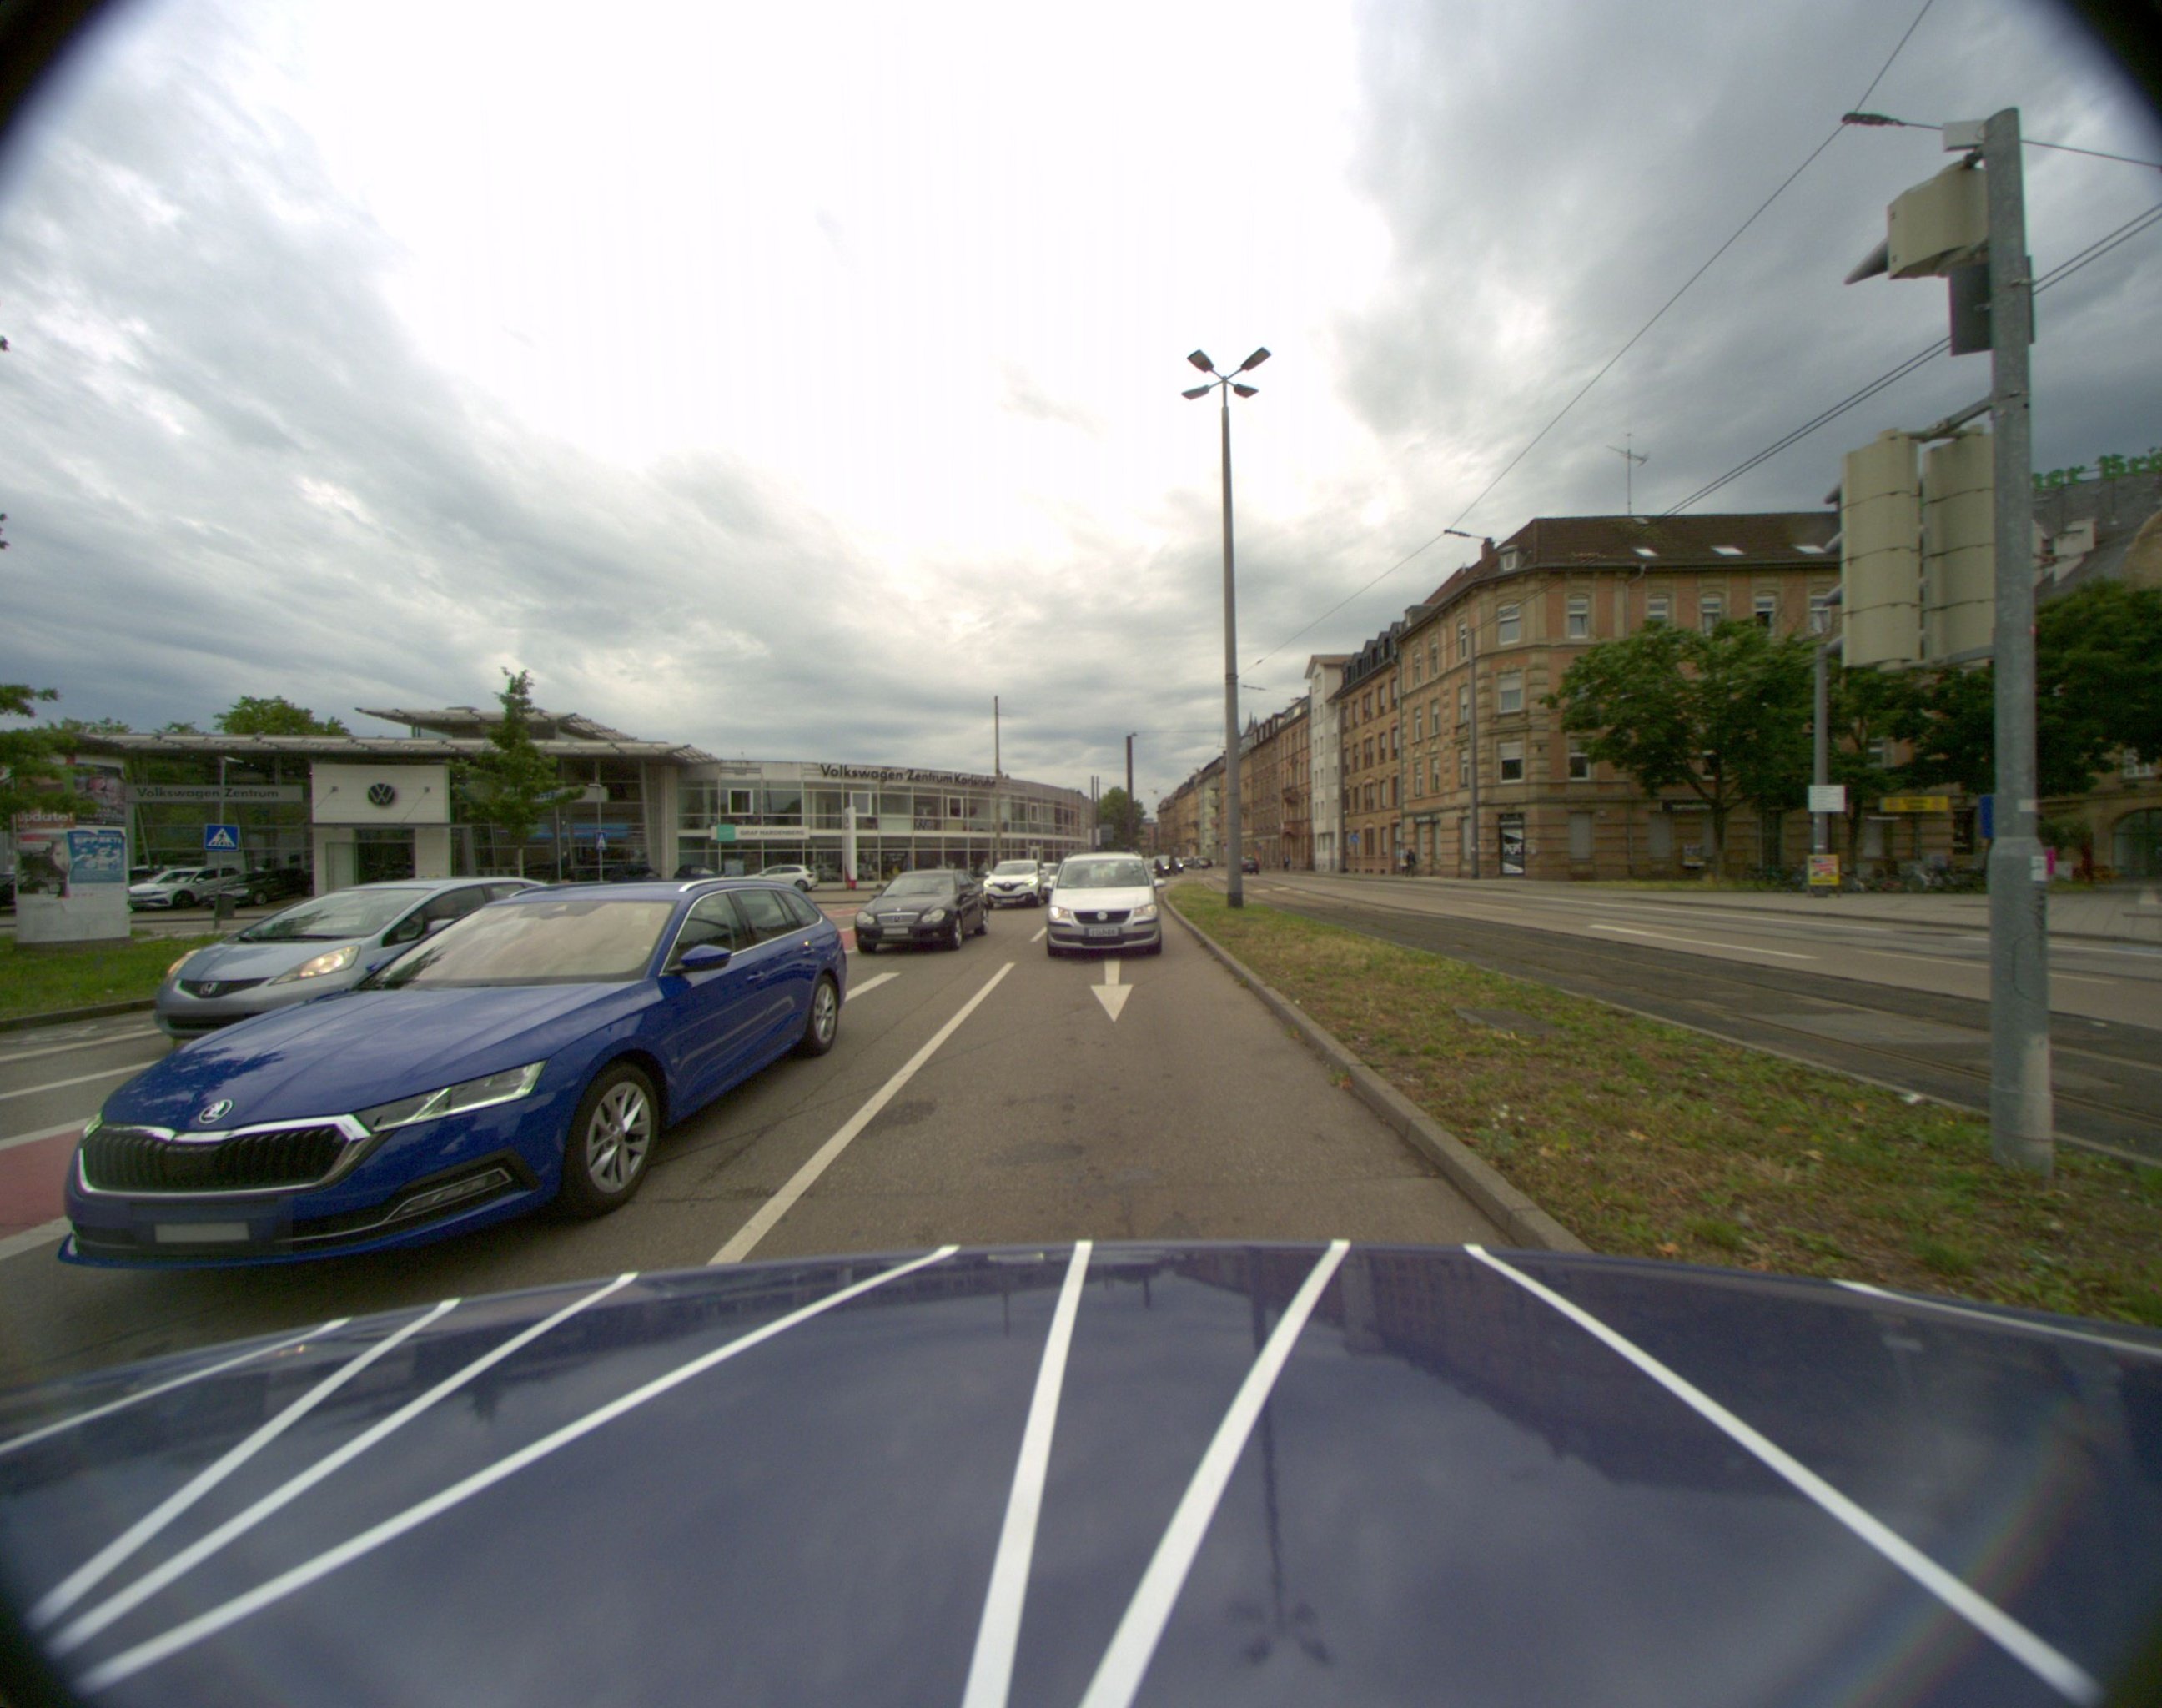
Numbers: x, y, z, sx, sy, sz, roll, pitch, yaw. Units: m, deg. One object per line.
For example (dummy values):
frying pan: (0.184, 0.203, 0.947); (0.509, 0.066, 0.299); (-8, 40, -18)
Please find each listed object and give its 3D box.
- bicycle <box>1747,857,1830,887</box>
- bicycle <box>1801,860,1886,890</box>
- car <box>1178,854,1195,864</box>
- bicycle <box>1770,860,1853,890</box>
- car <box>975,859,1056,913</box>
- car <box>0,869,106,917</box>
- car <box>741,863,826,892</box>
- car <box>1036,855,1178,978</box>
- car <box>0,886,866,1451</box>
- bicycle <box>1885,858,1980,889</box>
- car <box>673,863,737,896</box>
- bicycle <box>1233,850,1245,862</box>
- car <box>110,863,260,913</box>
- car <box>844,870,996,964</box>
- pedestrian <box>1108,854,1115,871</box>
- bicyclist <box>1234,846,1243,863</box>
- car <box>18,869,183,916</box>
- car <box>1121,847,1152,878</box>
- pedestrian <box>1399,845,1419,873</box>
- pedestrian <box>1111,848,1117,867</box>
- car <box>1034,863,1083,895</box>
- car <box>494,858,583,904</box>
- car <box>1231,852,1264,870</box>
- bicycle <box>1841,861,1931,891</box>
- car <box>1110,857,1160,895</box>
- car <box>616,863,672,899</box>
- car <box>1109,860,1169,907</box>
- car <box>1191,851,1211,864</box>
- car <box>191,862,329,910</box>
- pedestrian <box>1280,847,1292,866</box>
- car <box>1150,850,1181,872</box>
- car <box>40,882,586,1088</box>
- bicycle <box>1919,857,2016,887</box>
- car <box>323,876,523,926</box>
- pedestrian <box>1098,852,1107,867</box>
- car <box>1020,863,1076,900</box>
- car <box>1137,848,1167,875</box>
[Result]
bicycle: (25.815, 0.648, 27.785); (0.837, 1.024, 2.397); (-1, 0, 1)
bicycle: (27.725, 0.746, 27.703); (0.754, 1.024, 2.397); (-1, 0, 1)
car: (15.152, 0.701, 109.437); (1.815, 1.423, 4.017); (-1, 0, 0)
bicycle: (26.615, 0.729, 27.757); (0.754, 1.024, 2.397); (-1, 0, 1)
car: (-2.122, 1.011, 25.676); (1.981, 1.550, 4.146); (-3, 0, 5)
car: (-44.780, 1.620, 32.120); (1.958, 1.505, 4.221); (0, 6, -10)
car: (-15.887, 1.252, 40.719); (3.907, 1.433, 1.731); (-1, 0, -8)
car: (0.444, 0.837, 12.671); (1.863, 1.609, 5.063); (-1, 0, 2)
car: (-2.914, 1.030, 4.593); (1.770, 1.428, 4.757); (-2, 0, 1)
bicycle: (30.425, 0.684, 27.224); (0.754, 1.024, 2.397); (-1, 0, 1)
car: (-19.076, 1.253, 38.465); (1.795, 1.551, 4.023); (-1, 0, -43)
bicycle: (17.409, 0.189, 83.815); (0.798, 1.285, 2.411); (-1, 0, 2)
car: (-39.354, 1.436, 33.578); (1.958, 1.589, 4.221); (0, 6, -10)
car: (-2.858, 1.067, 14.512); (1.769, 1.362, 4.423); (-2, 0, 2)
pedestrian: (2.993, 0.855, 75.077); (0.663, 1.671, 0.650); (-1, 0, 0)
bicyclist: (17.417, 0.018, 83.807); (0.824, 1.856, 0.924); (-1, 1, 2)
car: (-42.138, 1.580, 32.858); (1.958, 1.459, 4.222); (0, 5, -10)
car: (3.784, 0.577, 52.413); (1.998, 2.002, 4.001); (-1, 0, 2)
pedestrian: (19.730, 0.288, 45.671); (0.812, 1.666, 0.798); (-1, 0, -2)
pedestrian: (3.524, 0.369, 80.721); (0.652, 1.904, 0.602); (-1, 1, 2)
car: (-1.040, 1.180, 36.994); (1.907, 1.428, 3.973); (-1, 0, 5)
car: (-25.566, 1.203, 36.026); (1.958, 1.634, 4.664); (-1, 4, -16)
car: (14.356, 0.616, 65.670); (1.888, 1.461, 4.464); (-1, 0, 0)
bicycle: (28.934, 0.776, 27.383); (0.754, 1.024, 2.397); (-1, 0, 1)
car: (2.283, 0.884, 32.030); (1.972, 1.447, 4.194); (-1, 0, 4)
car: (-21.259, 1.266, 36.874); (1.961, 1.516, 4.218); (-1, 2, -35)
car: (1.851, 0.907, 25.149); (1.809, 1.398, 3.983); (0, 0, 2)
car: (15.256, 0.452, 97.046); (1.835, 1.635, 4.230); (-1, 0, 0)
car: (-36.552, 1.369, 34.012); (1.958, 1.449, 4.220); (0, 7, -10)
pedestrian: (19.730, 0.271, 73.074); (0.921, 1.822, 0.719); (-1, 1, -34)
car: (6.993, 0.586, 63.280); (2.372, 1.744, 5.131); (-1, 0, 5)
car: (-7.509, 1.140, 8.118); (1.709, 1.474, 3.934); (-2, 0, 2)
bicycle: (31.847, 0.616, 27.361); (0.754, 1.024, 2.397); (-1, 0, 1)
car: (-22.349, 1.571, 26.012); (4.883, 1.534, 1.889); (0, 0, -11)
pedestrian: (2.989, 0.704, 104.285); (1.177, 2.002, 1.032); (-1, 0, 2)
car: (-1.345, 1.119, 32.459); (1.907, 1.428, 3.973); (-1, 0, 5)
car: (5.353, 0.556, 57.522); (1.998, 2.002, 4.001); (-1, 0, 2)
